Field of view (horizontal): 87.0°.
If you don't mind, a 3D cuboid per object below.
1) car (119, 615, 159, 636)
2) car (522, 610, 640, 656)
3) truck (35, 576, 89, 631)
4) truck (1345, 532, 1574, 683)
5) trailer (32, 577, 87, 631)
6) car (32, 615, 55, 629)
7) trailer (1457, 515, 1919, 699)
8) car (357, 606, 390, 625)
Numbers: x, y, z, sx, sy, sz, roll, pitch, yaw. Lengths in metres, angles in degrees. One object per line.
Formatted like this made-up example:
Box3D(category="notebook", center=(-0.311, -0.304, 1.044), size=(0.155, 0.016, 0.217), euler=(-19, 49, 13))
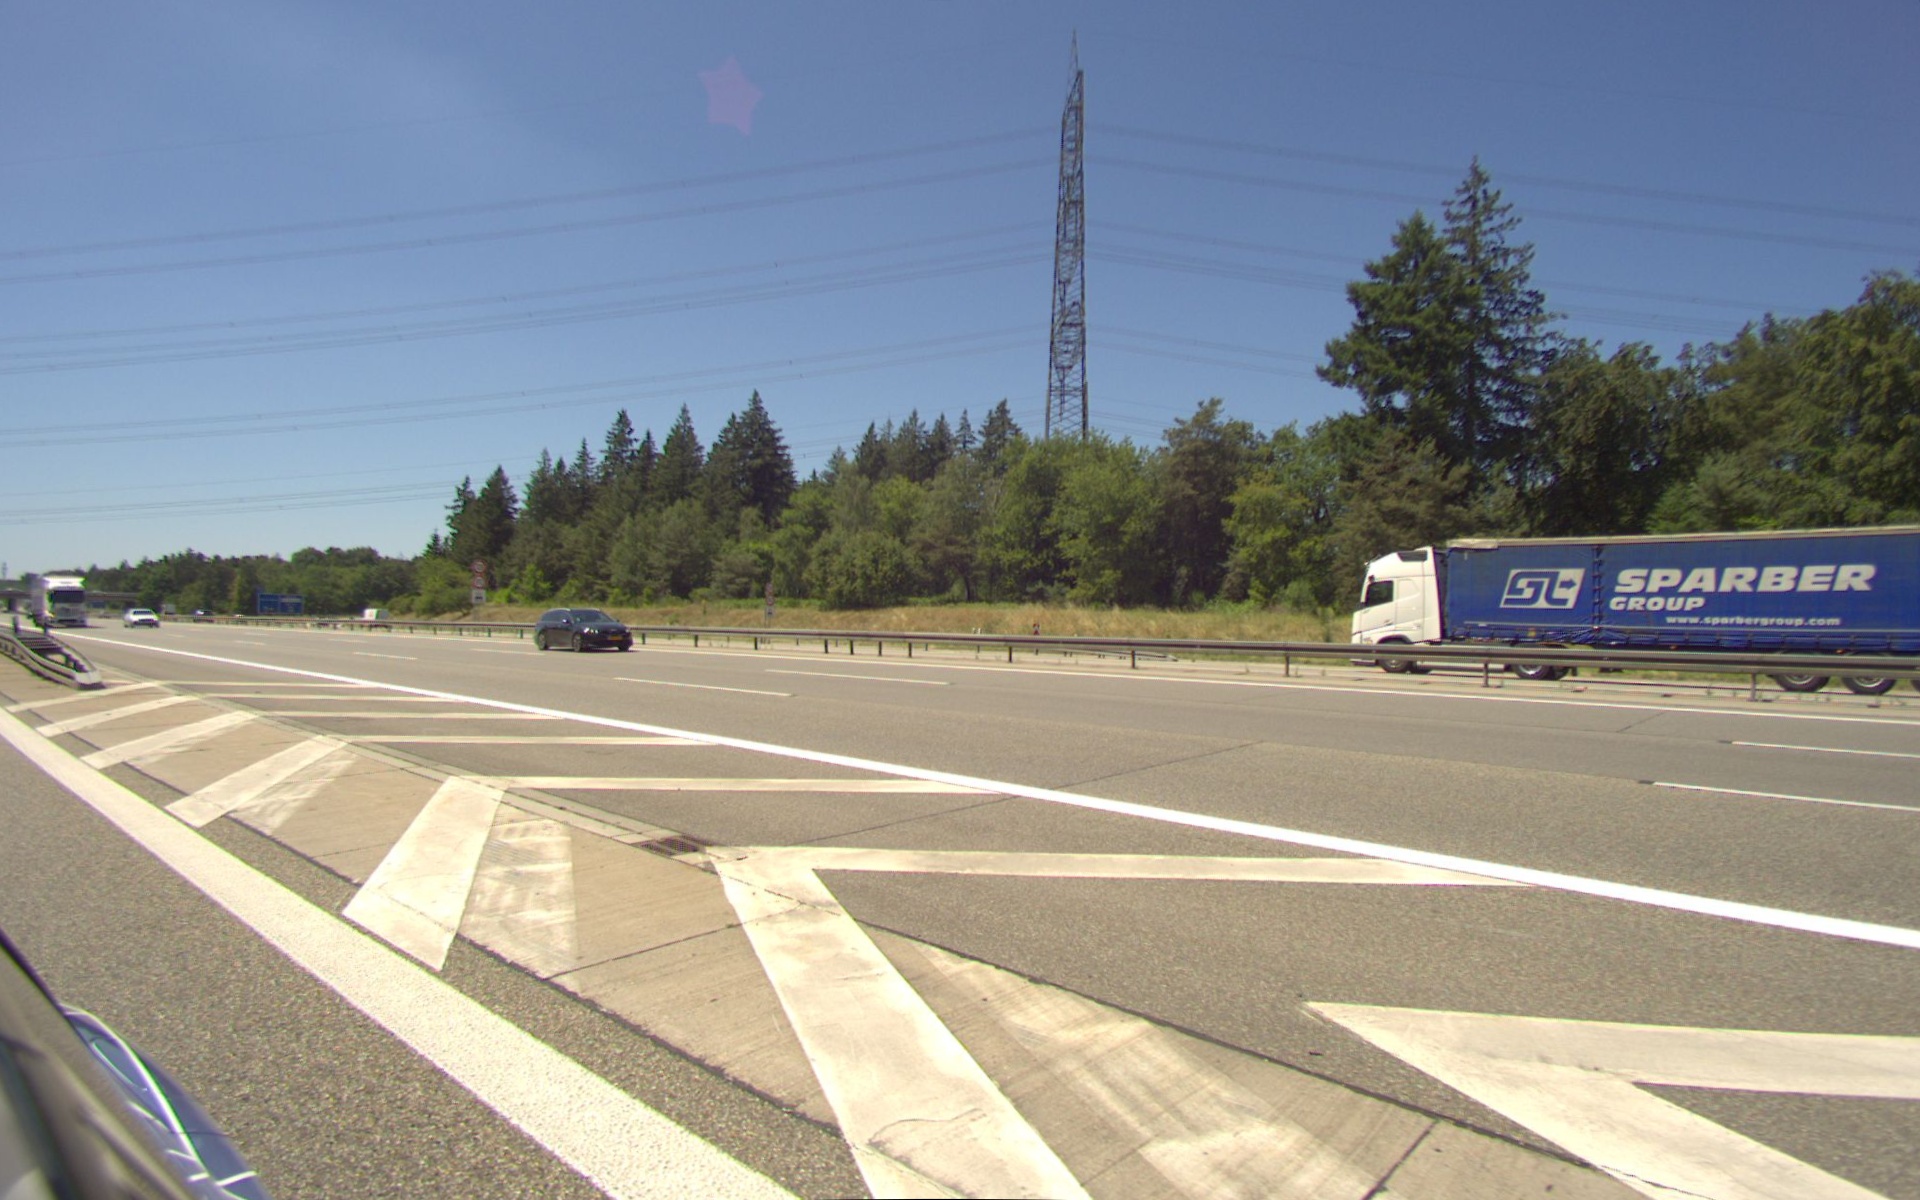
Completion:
Box3D(category="car", center=(-65.755, 2.030, 81.064), size=(5.407, 1.515, 1.941), euler=(0, 0, 45))
Box3D(category="car", center=(-12.933, 1.091, 34.395), size=(5.001, 1.442, 1.811), euler=(-1, -1, 44))
Box3D(category="truck", center=(-70.905, 0.354, 79.862), size=(2.938, 4.174, 5.353), euler=(1, -2, -44))
Box3D(category="truck", center=(15.404, 0.290, 31.381), size=(5.723, 4.204, 3.168), euler=(-1, -3, 43))
Box3D(category="trailer", center=(-74.504, 0.416, 83.604), size=(2.940, 4.174, 11.705), euler=(1, -2, -44))
Box3D(category="car", center=(-141.163, 3.434, 155.867), size=(5.407, 2.048, 2.284), euler=(0, 0, 45))
Box3D(category="trailer", center=(20.815, 0.239, 26.231), size=(13.985, 4.204, 3.167), euler=(-1, -3, 44))
Box3D(category="car", center=(-81.363, 2.216, 140.429), size=(6.458, 2.534, 2.279), euler=(-1, -2, 44))
